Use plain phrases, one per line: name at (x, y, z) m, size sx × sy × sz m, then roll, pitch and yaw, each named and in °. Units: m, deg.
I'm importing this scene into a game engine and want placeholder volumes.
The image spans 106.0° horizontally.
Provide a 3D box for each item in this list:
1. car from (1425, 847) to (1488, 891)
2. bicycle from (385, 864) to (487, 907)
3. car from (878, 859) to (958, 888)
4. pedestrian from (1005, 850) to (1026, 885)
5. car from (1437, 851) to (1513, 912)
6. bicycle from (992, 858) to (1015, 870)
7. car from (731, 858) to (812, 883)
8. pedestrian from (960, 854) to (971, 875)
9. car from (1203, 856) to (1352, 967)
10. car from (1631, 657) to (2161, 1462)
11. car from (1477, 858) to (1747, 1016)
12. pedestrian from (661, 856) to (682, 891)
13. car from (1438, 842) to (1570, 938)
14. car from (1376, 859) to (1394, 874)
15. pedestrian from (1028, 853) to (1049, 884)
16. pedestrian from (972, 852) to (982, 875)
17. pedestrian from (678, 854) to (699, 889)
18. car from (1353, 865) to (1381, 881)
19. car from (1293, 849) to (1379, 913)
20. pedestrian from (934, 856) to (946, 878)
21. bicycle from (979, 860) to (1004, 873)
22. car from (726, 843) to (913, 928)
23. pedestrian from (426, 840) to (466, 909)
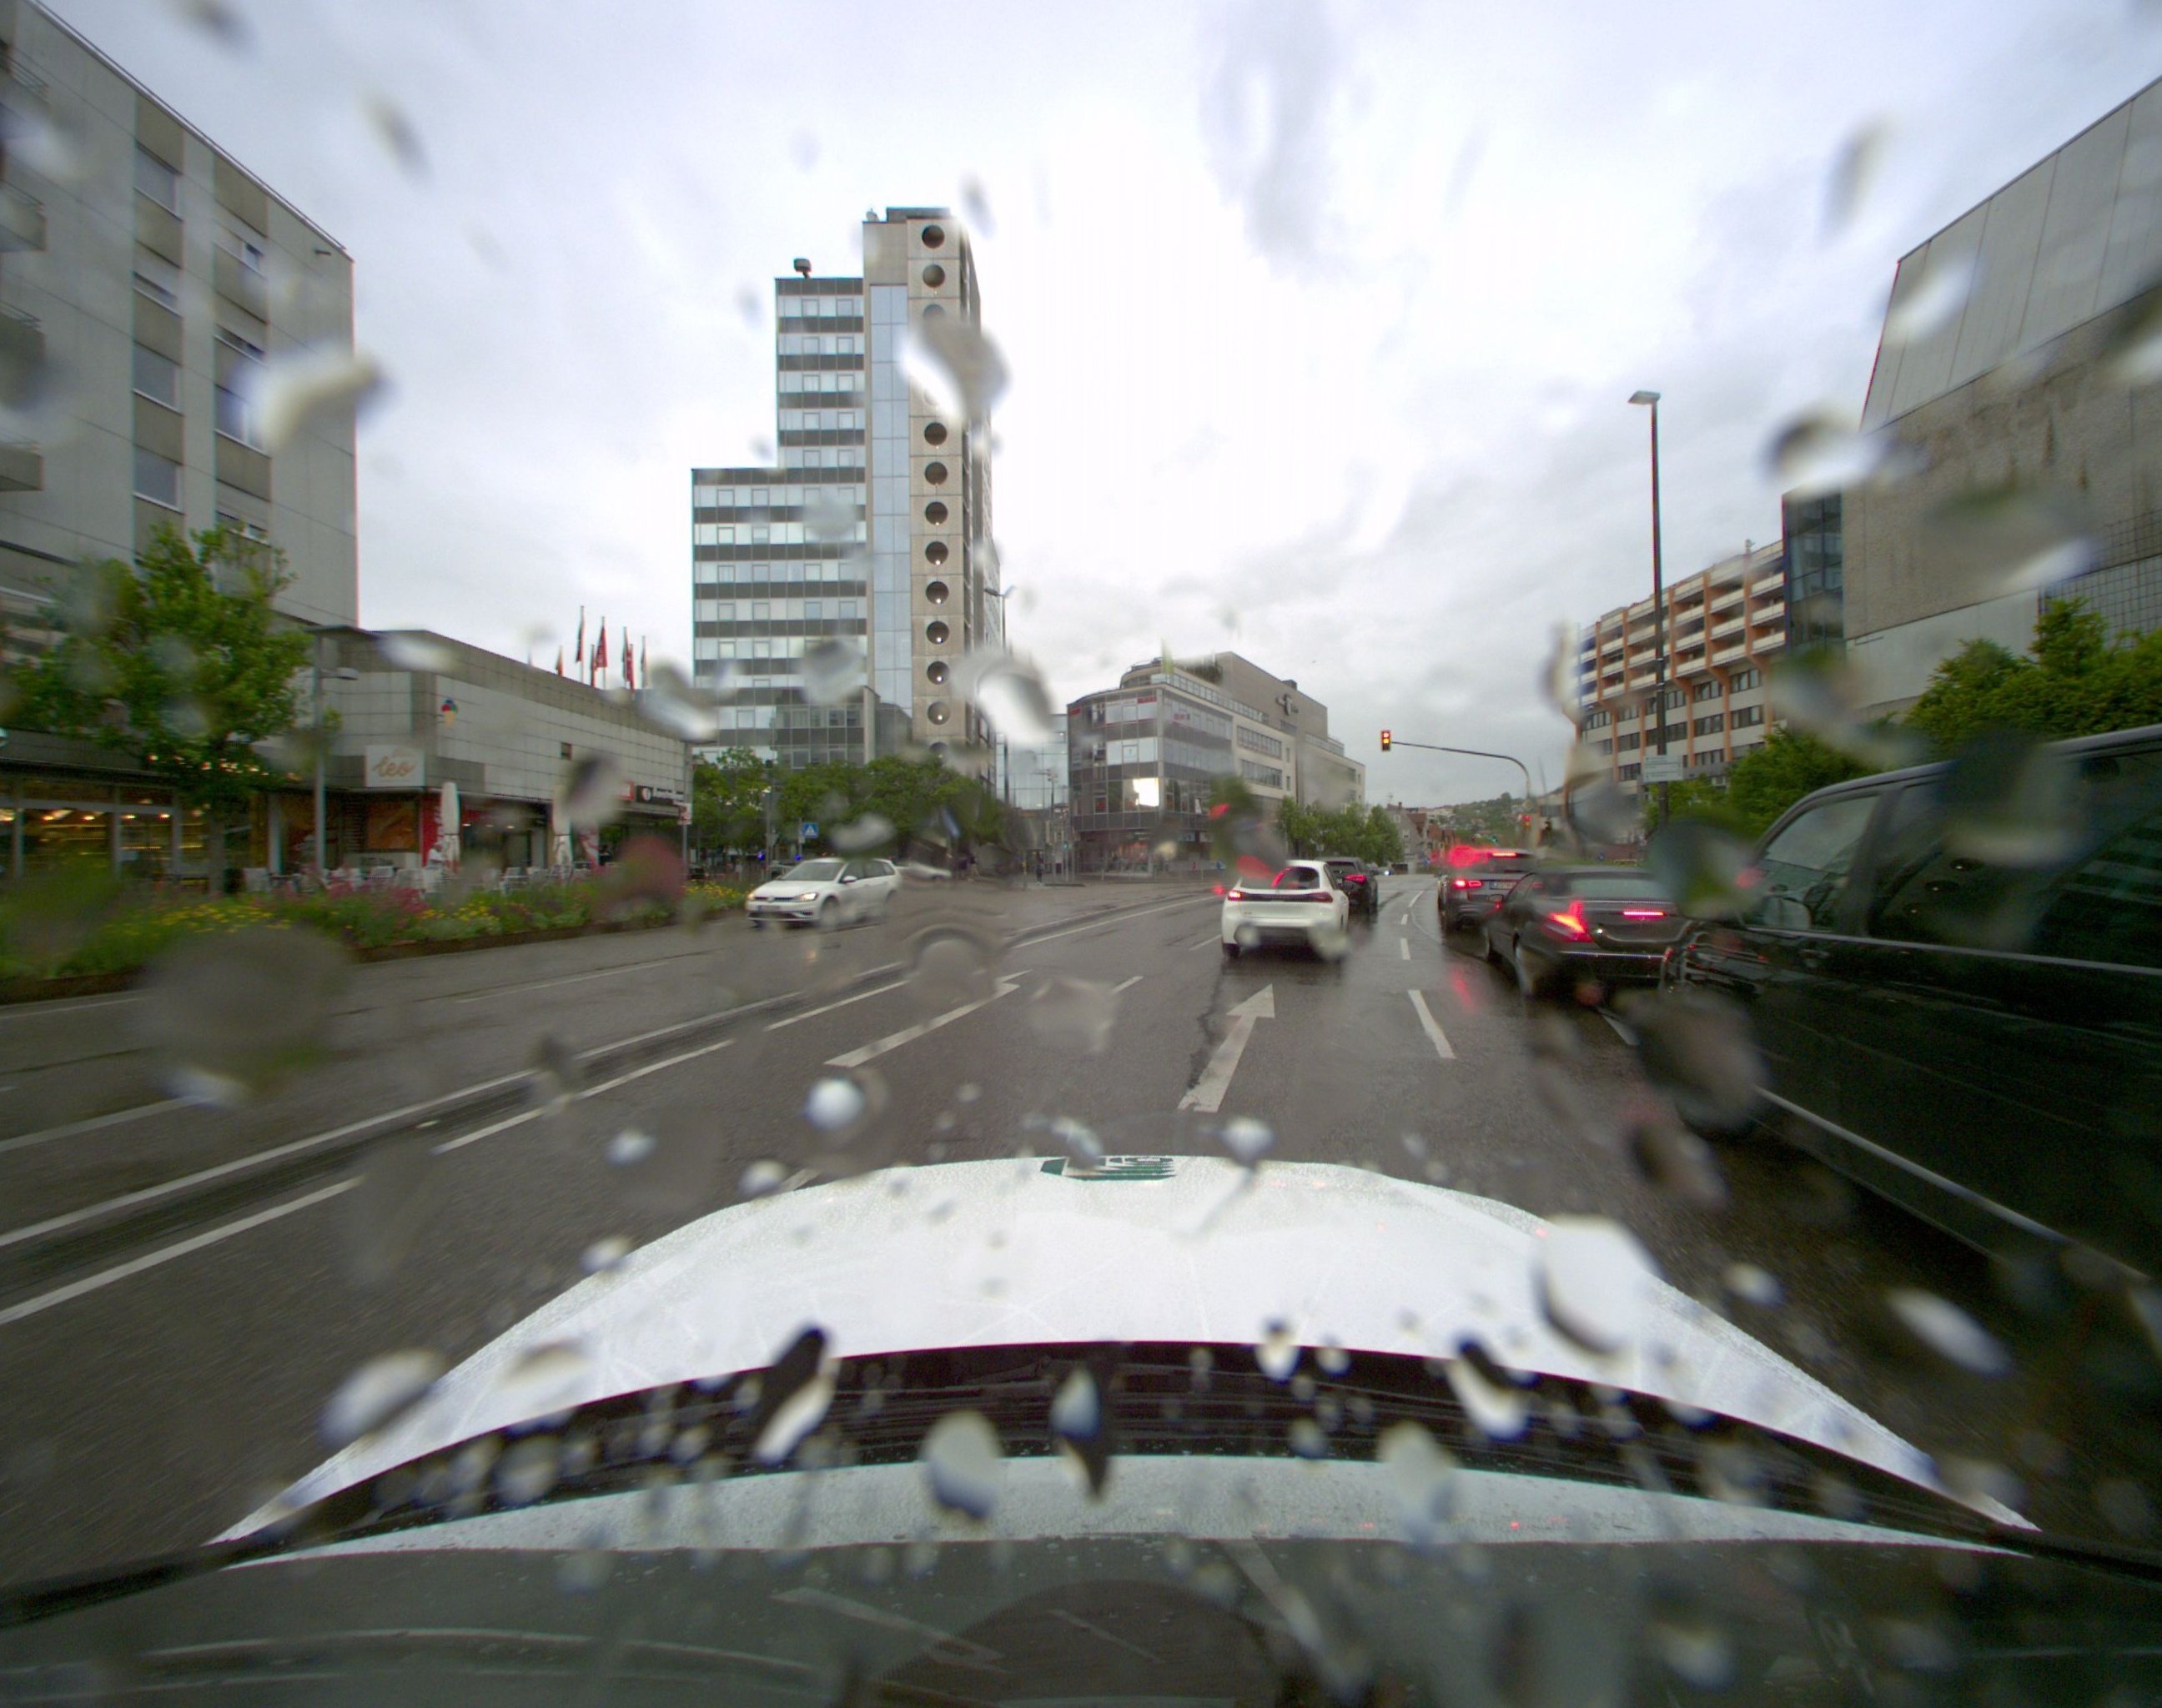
car at (13.188, 0.490, 28.673) m, size 1.894 × 1.400 × 3.477 m, roll -1°, pitch 1°, yaw 24°
bicycle at (-18.821, 0.922, 23.788) m, size 2.533 × 1.223 × 0.697 m, roll 0°, pitch 0°, yaw 4°
car at (-9.389, 1.128, 47.153) m, size 4.178 × 1.595 × 1.870 m, roll 0°, pitch 0°, yaw 0°
pedestrian at (-3.793, 0.787, 47.264) m, size 1.160 × 2.013 × 1.325 m, roll 0°, pitch 0°, yaw -6°
car at (10.850, 0.679, 22.633) m, size 1.619 × 1.448 × 4.292 m, roll 0°, pitch 1°, yaw 22°
bicycle at (-7.939, 1.012, 83.144) m, size 2.267 × 1.247 × 0.676 m, roll -1°, pitch -1°, yaw -1°
car at (-18.343, 0.971, 48.374) m, size 4.024 × 1.420 × 1.874 m, roll 0°, pitch 0°, yaw 7°
pedestrian at (-10.181, 0.925, 72.019) m, size 0.828 × 1.868 × 0.753 m, roll -1°, pitch -1°, yaw 0°
car at (3.295, 0.778, 13.068) m, size 1.856 × 1.462 × 3.893 m, roll 0°, pitch 0°, yaw 20°
car at (3.791, 0.489, 2.664) m, size 1.980 × 1.894 × 4.606 m, roll 0°, pitch 0°, yaw 16°
car at (5.940, 0.761, 9.718) m, size 1.618 × 1.386 × 4.536 m, roll 0°, pitch 0°, yaw 19°
pedestrian at (-15.638, 0.735, 31.076) m, size 0.491 × 1.348 × 0.540 m, roll -1°, pitch 0°, yaw 35°
car at (8.162, 0.602, 16.088) m, size 1.885 × 1.621 × 4.358 m, roll 0°, pitch 0°, yaw 21°
car at (35.521, 1.443, 95.187) m, size 1.493 × 1.725 × 3.677 m, roll -1°, pitch 0°, yaw 29°
pedestrian at (-2.609, 0.886, 49.853) m, size 0.837 × 1.819 × 1.031 m, roll -2°, pitch -1°, yaw 32°
pedestrian at (-9.208, 0.825, 72.260) m, size 0.760 × 2.013 × 0.714 m, roll -1°, pitch 0°, yaw 0°
pedestrian at (-15.222, 0.675, 31.581) m, size 0.491 × 1.348 × 0.540 m, roll -1°, pitch 0°, yaw 37°
car at (31.304, 2.065, 89.068) m, size 1.756 × 1.594 × 4.616 m, roll -6°, pitch -4°, yaw 31°
car at (6.860, 0.644, 21.669) m, size 1.799 × 1.529 × 3.833 m, roll -1°, pitch 0°, yaw 23°
pedestrian at (-12.336, 1.142, 71.211) m, size 0.755 × 1.868 × 0.826 m, roll -1°, pitch -1°, yaw -27°
bicycle at (-8.572, 1.185, 78.167) m, size 2.267 × 1.247 × 0.676 m, roll -1°, pitch -1°, yaw -1°
car at (-5.705, 0.624, 18.485) m, size 1.871 × 1.682 × 4.524 m, roll 0°, pitch 0°, yaw 15°
pedestrian at (-16.009, 0.511, 20.537) m, size 0.658 × 1.693 × 0.709 m, roll 0°, pitch 0°, yaw -26°
